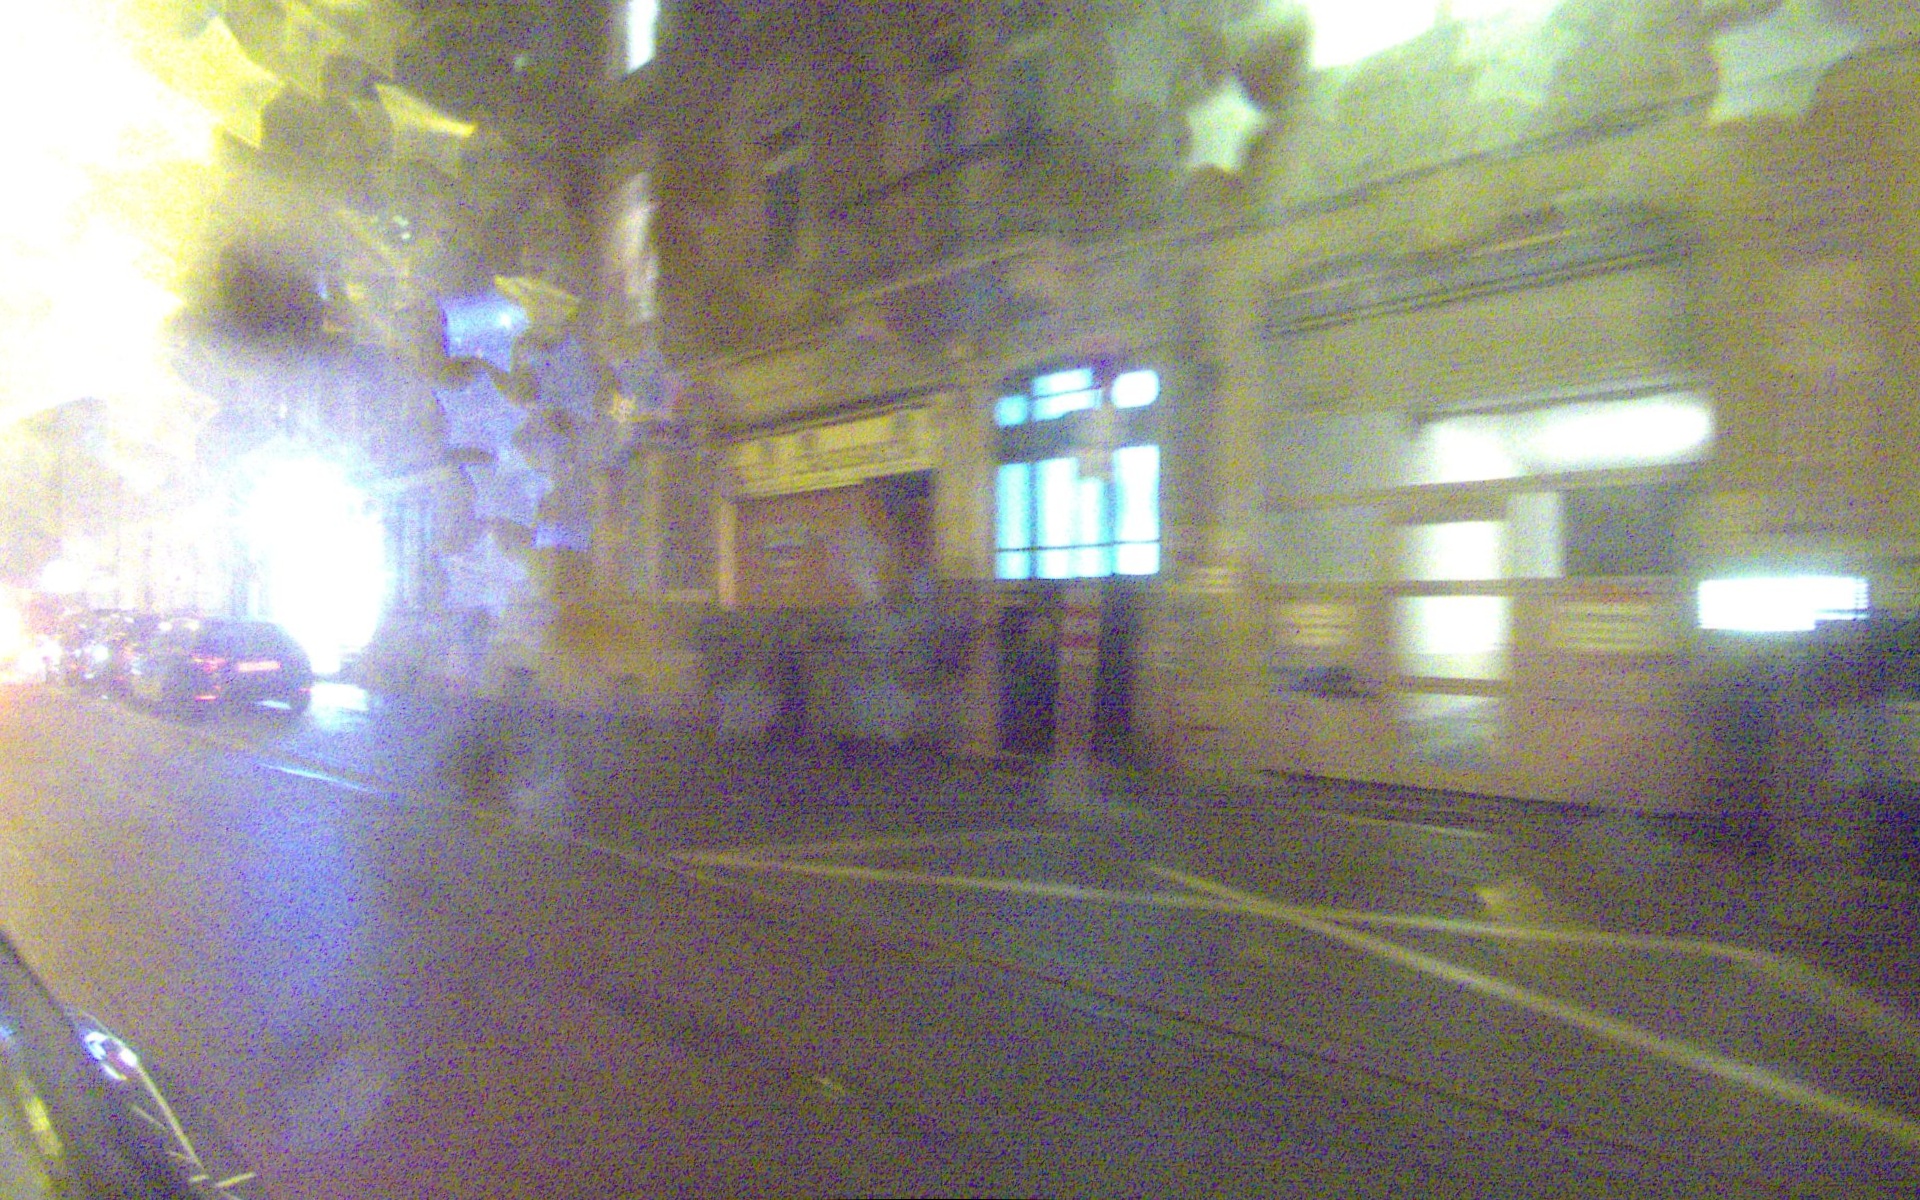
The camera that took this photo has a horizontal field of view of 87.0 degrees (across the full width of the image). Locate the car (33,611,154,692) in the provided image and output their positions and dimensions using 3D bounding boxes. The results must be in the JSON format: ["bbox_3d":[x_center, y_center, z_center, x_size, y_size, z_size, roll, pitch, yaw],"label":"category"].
[{"bbox_3d":[-19.974,1.131,23.293,3.719,1.719,1.587,-1,-1,41],"label":"car"}]

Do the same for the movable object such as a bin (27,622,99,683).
[{"bbox_3d":[-22.892,1.310,25.821,1.151,1.470,1.248,-1,0,43],"label":"movable object such as a bin"}]

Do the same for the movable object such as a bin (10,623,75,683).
[{"bbox_3d":[-23.926,1.352,26.395,1.107,1.470,1.152,-1,0,43],"label":"movable object such as a bin"}]

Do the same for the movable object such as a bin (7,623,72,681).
[{"bbox_3d":[-24.766,1.369,27.220,1.107,1.470,1.195,-1,0,43],"label":"movable object such as a bin"}]

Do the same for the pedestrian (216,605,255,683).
[{"bbox_3d":[-17.069,1.021,23.849,0.549,1.794,0.632,-1,-2,41],"label":"pedestrian"}]

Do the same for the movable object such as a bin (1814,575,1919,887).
[{"bbox_3d":[4.897,0.593,4.864,1.133,1.430,0.964,-1,0,44],"label":"movable object such as a bin"}]

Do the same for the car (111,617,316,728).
[{"bbox_3d":[-11.736,1.042,15.802,4.313,1.466,1.669,-2,-1,41],"label":"car"}]

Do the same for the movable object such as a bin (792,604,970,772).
[{"bbox_3d":[-0.759,0.782,9.680,1.248,1.430,1.128,-1,0,44],"label":"movable object such as a bin"}]

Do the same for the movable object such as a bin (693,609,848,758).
[{"bbox_3d":[-2.022,0.838,10.805,1.154,1.430,1.128,-1,0,44],"label":"movable object such as a bin"}]

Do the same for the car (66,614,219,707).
[{"bbox_3d":[-15.735,1.100,19.410,4.023,1.564,1.587,-2,-1,41],"label":"car"}]

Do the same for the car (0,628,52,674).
[{"bbox_3d":[-30.445,1.583,32.343,4.220,1.369,1.637,-1,-1,41],"label":"car"}]
